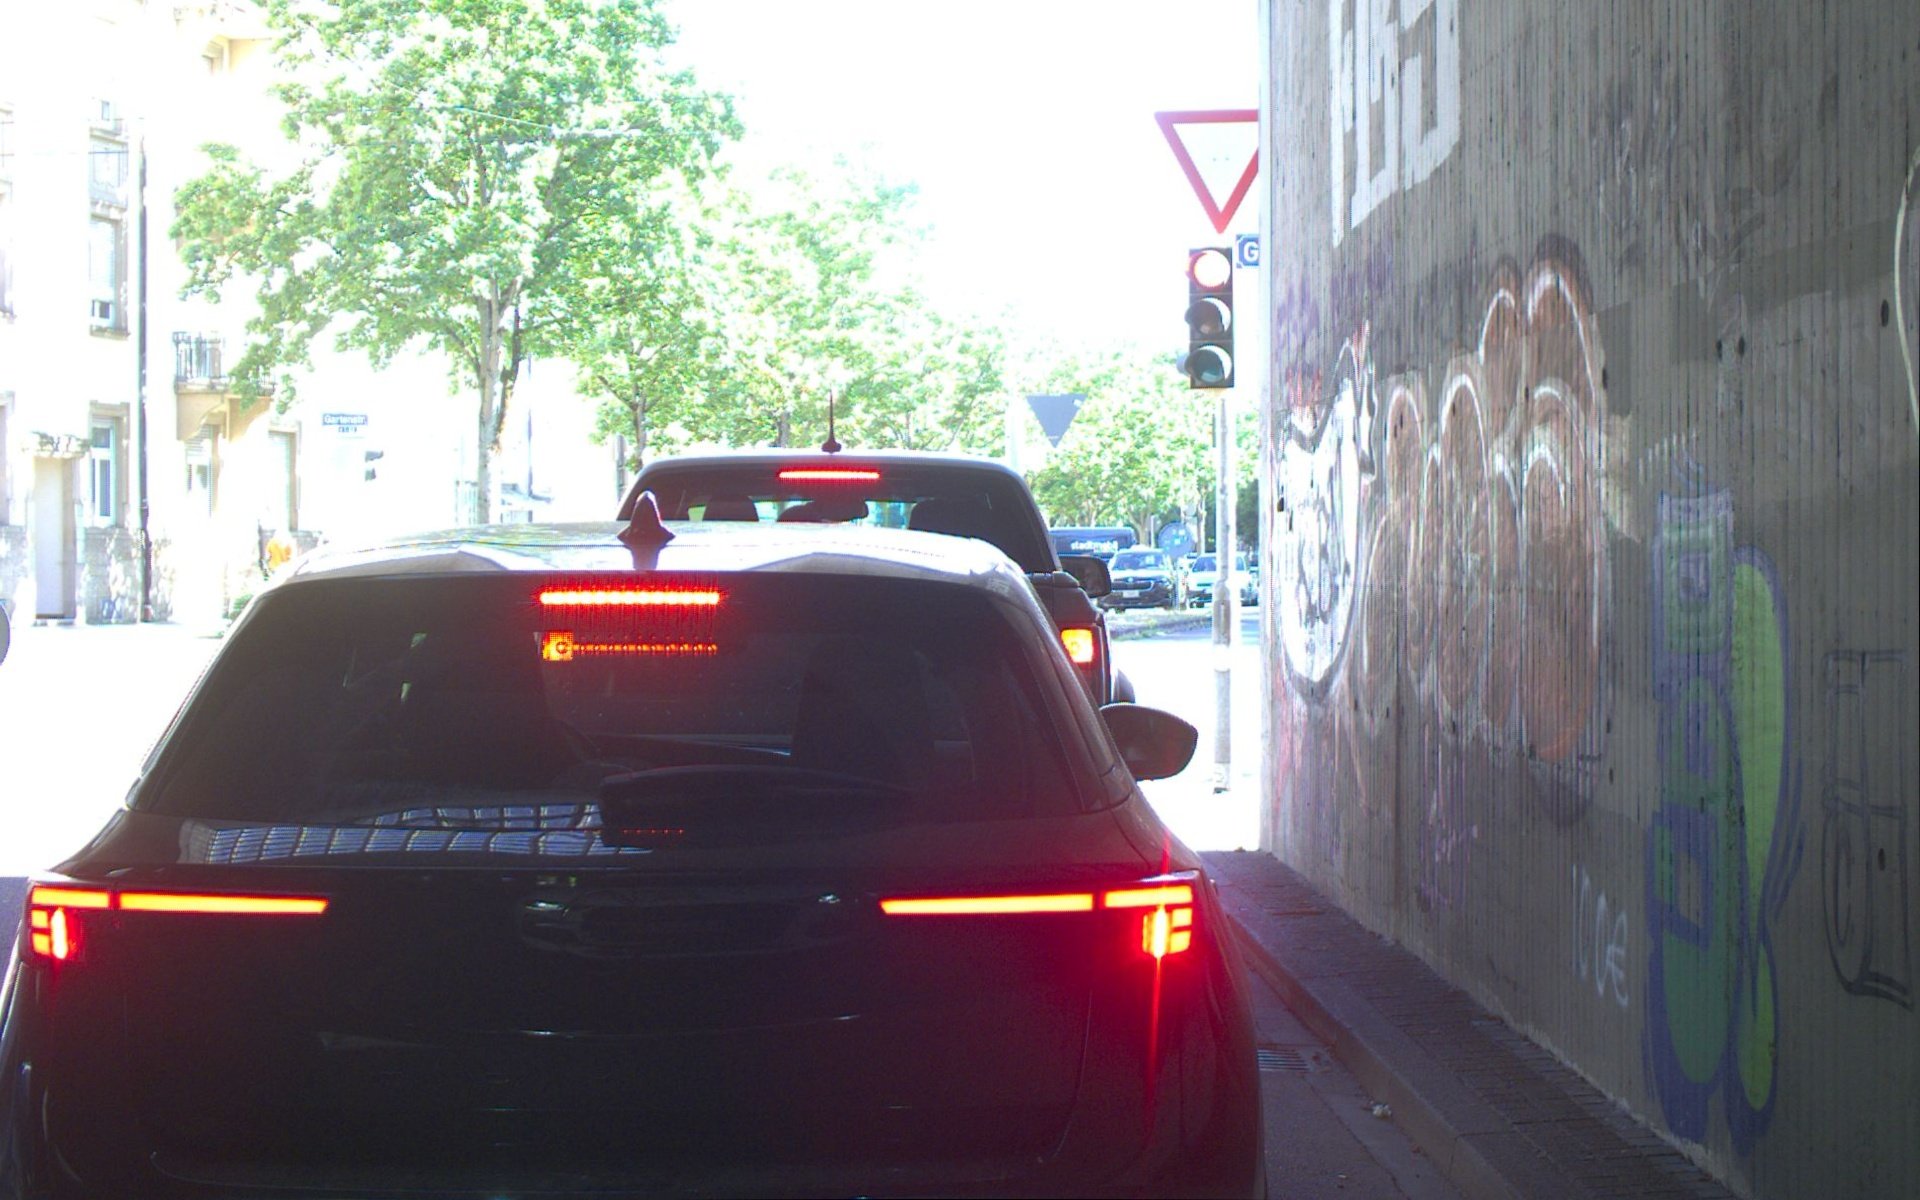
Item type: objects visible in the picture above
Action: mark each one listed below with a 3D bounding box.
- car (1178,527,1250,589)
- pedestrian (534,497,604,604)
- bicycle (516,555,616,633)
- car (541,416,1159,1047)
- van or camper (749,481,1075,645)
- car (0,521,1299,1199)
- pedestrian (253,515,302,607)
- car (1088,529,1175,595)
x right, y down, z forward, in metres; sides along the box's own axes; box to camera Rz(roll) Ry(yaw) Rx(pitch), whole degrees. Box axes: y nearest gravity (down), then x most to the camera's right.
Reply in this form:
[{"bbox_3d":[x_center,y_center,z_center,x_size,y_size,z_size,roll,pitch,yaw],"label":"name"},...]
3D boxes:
[{"bbox_3d":[6.890,-1.148,93.067,1.584,1.634,3.804,0,1,10],"label":"car"},{"bbox_3d":[-5.842,-0.736,51.399,0.736,1.579,0.889,1,0,15],"label":"pedestrian"},{"bbox_3d":[-5.867,-0.103,51.325,0.737,1.126,2.025,0,1,17],"label":"bicycle"},{"bbox_3d":[-0.339,0.347,12.022,1.786,1.827,3.961,1,1,0],"label":"car"},{"bbox_3d":[-0.576,-0.469,43.548,3.878,2.007,2.000,0,1,7],"label":"van or camper"},{"bbox_3d":[-0.491,0.624,6.131,1.753,1.493,4.000,1,1,0],"label":"car"},{"bbox_3d":[-12.725,-0.732,64.099,0.623,1.699,0.723,1,0,13],"label":"pedestrian"},{"bbox_3d":[3.920,-0.874,78.023,1.599,1.447,3.794,0,1,8],"label":"car"}]
